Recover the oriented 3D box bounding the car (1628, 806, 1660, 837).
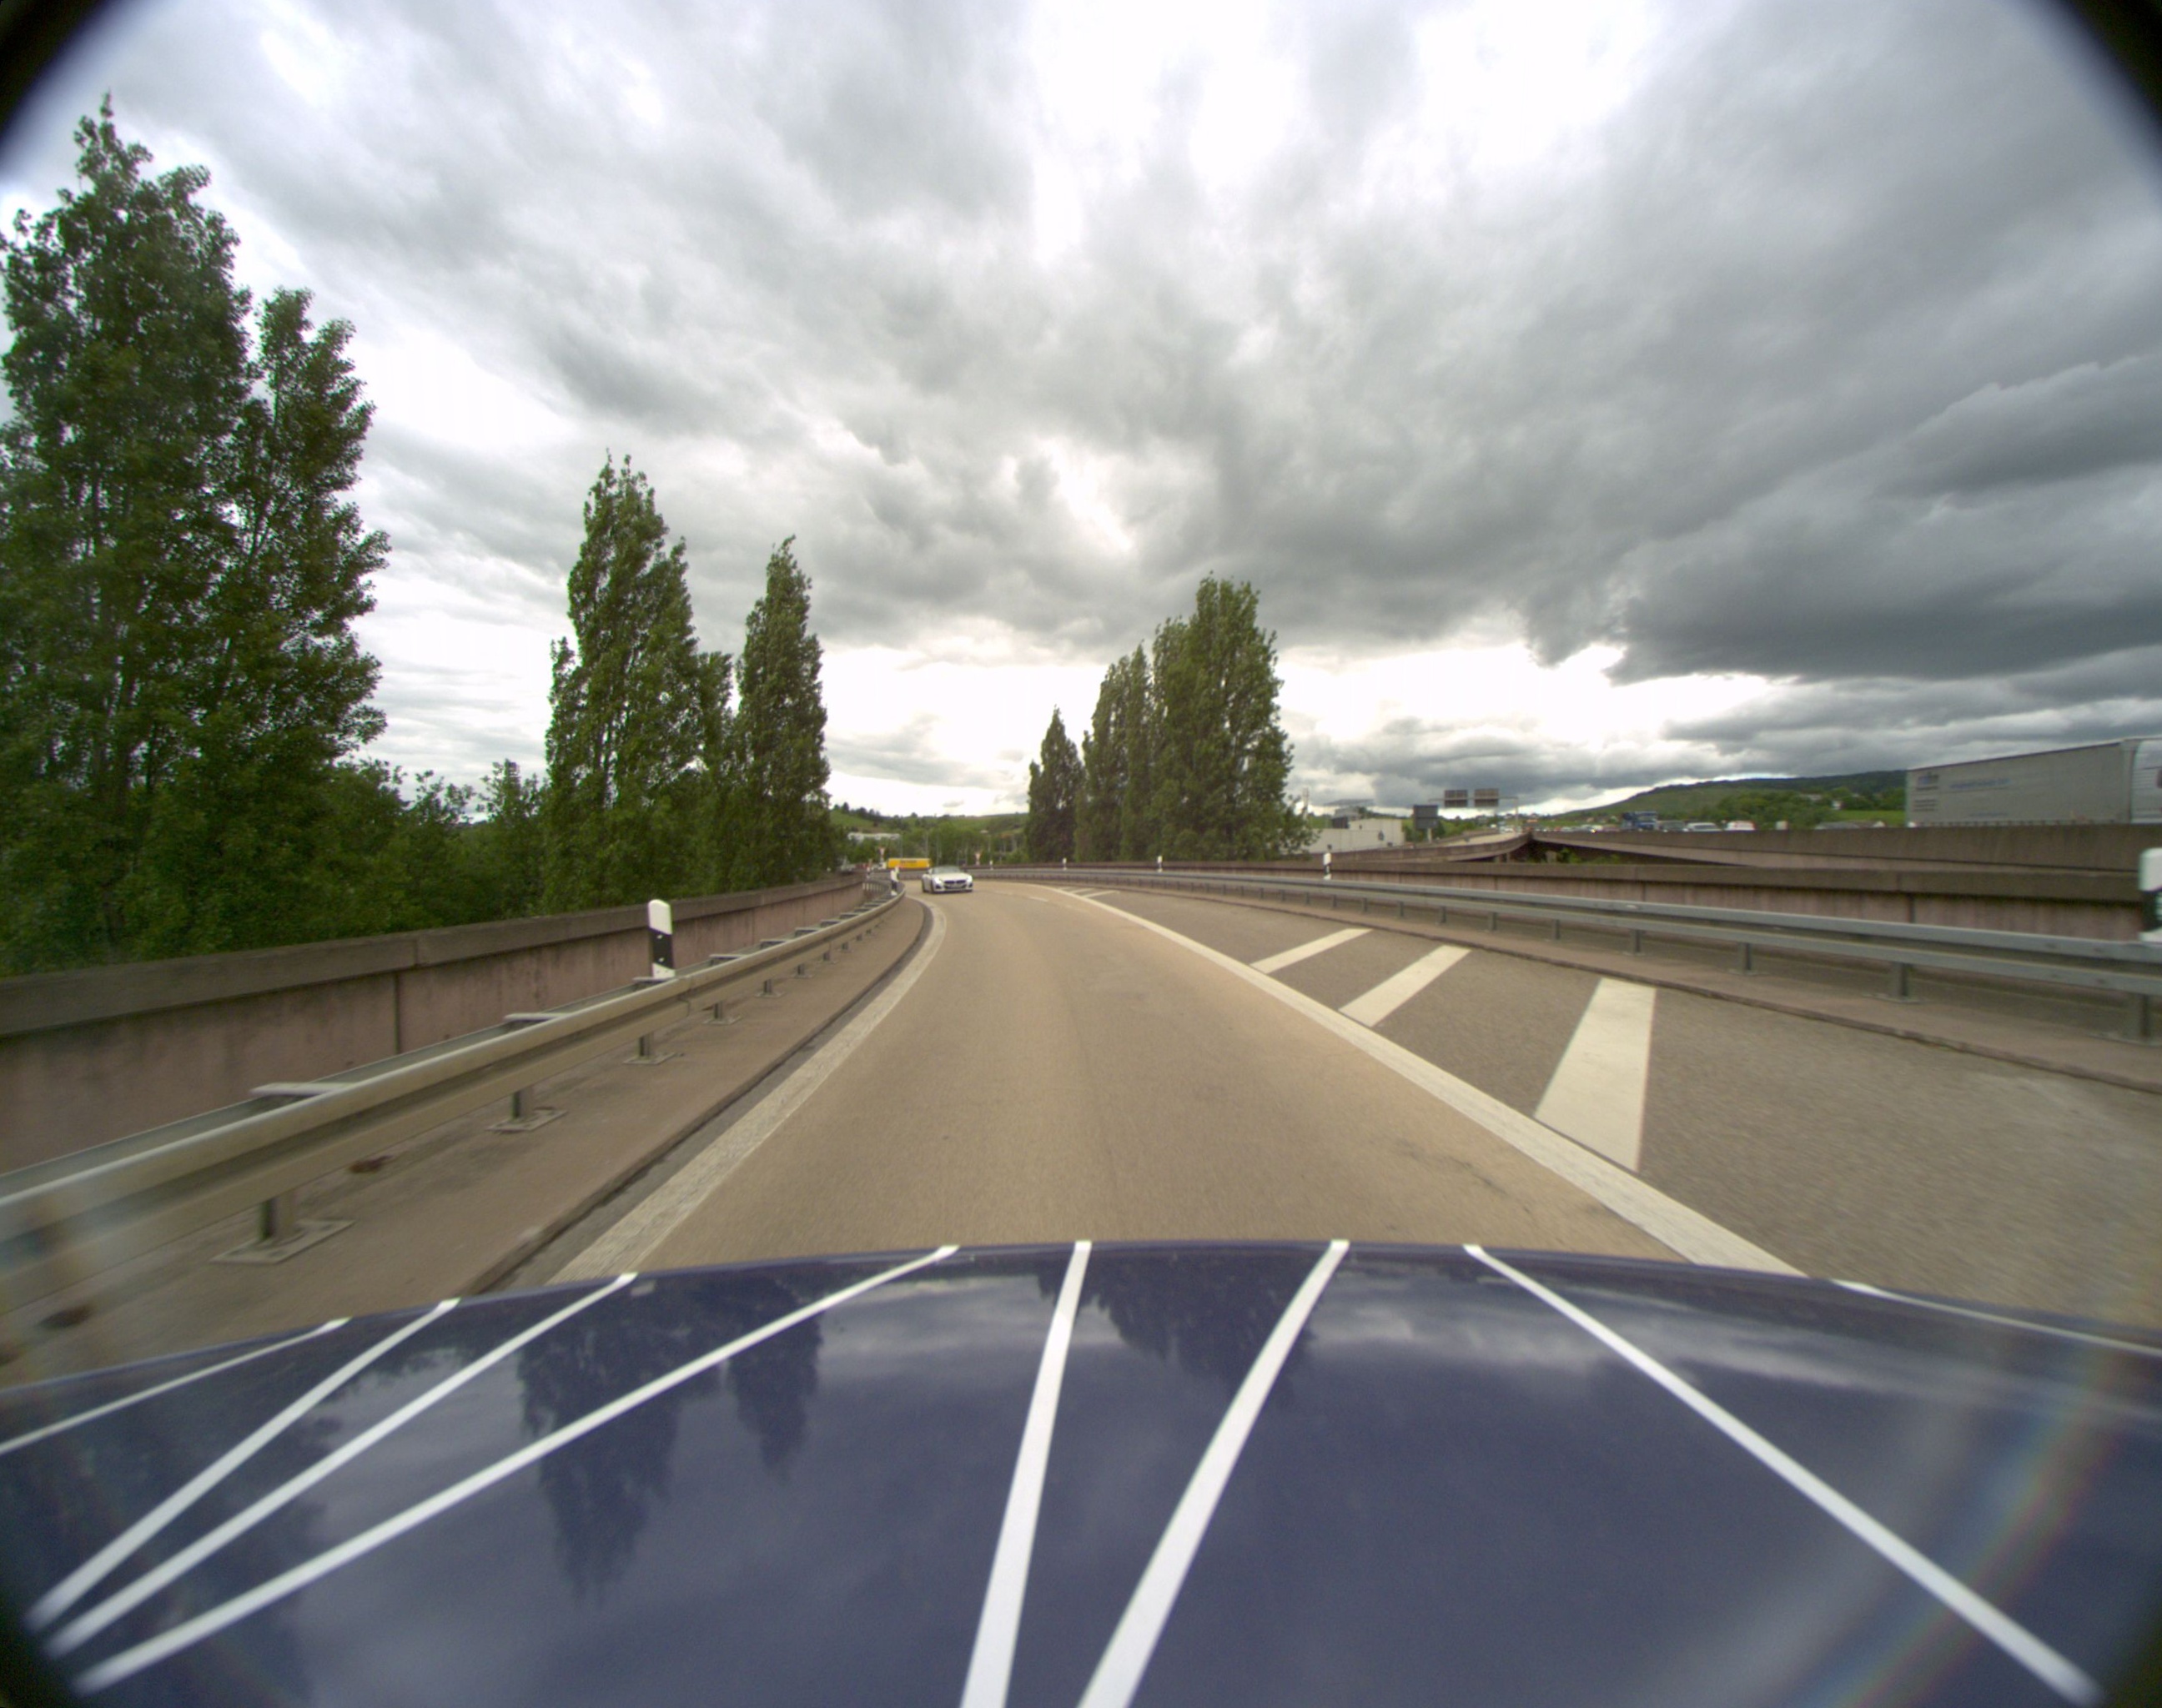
[{"bbox_3d":[71.468,-4.077,96.462,2.360,3.639,4.807,-4,-1,28],"label":"car"}]

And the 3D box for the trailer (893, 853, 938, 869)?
[{"bbox_3d":[-44.279,1.842,203.875,11.637,4.180,2.637,1,1,10],"label":"trailer"}]

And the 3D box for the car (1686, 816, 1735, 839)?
[{"bbox_3d":[48.991,-2.018,59.237,1.995,1.672,4.006,-2,0,26],"label":"car"}]

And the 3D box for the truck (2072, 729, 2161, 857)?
[{"bbox_3d":[35.563,-2.001,24.281,2.858,3.988,4.799,-2,1,26],"label":"truck"}]

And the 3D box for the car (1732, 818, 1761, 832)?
[{"bbox_3d":[79.928,-3.488,91.309,1.684,1.509,3.656,-4,-1,28],"label":"car"}]

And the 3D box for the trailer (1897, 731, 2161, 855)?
[{"bbox_3d":[38.799,-2.235,30.845,2.858,3.988,13.995,-2,1,26],"label":"trailer"}]

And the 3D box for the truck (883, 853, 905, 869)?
[{"bbox_3d":[-50.536,1.781,204.966,5.094,4.180,2.637,1,1,10],"label":"truck"}]

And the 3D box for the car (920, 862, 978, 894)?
[{"bbox_3d":[-6.395,1.088,36.390,1.865,1.337,4.816,-2,1,-20],"label":"car"}]
